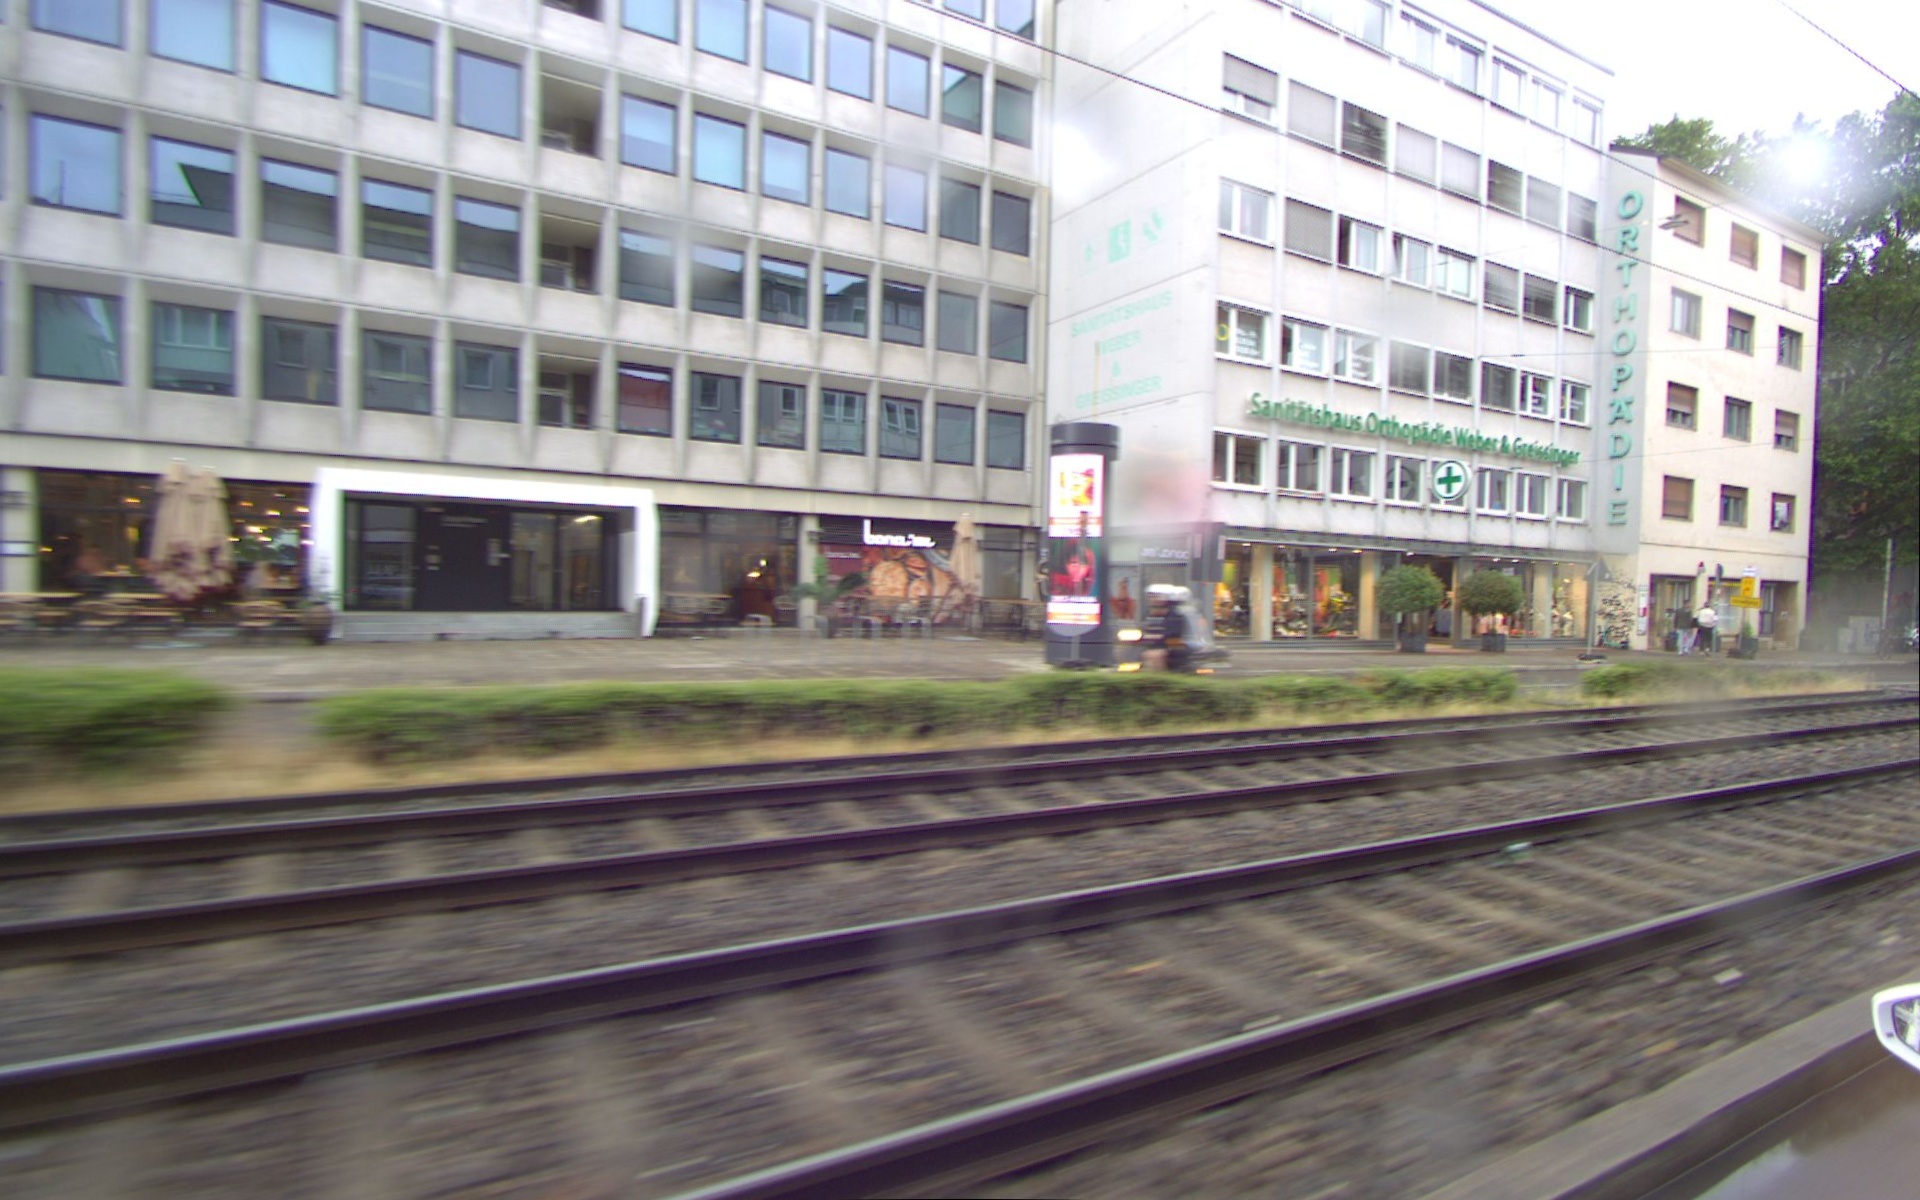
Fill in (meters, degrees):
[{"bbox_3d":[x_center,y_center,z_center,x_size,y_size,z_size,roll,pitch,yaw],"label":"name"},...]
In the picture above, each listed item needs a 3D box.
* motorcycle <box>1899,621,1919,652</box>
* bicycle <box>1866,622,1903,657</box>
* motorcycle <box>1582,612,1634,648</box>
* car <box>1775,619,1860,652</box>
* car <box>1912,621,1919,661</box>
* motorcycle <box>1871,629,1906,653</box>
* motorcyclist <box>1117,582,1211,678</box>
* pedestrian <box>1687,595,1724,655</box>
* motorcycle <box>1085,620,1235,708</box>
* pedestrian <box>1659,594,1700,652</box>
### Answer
[{"bbox_3d":[44.806,1.697,47.081,2.096,1.398,0.635,1,1,-32],"label":"motorcycle"},{"bbox_3d":[34.719,1.468,37.700,2.382,1.243,0.586,2,1,-38],"label":"bicycle"},{"bbox_3d":[22.493,1.029,34.873,0.381,1.196,1.469,1,1,-31],"label":"motorcycle"},{"bbox_3d":[41.180,1.692,48.236,3.955,1.474,1.983,1,0,-31],"label":"car"},{"bbox_3d":[37.823,1.567,37.892,4.171,1.488,1.735,1,-1,-31],"label":"car"},{"bbox_3d":[42.440,1.882,45.893,2.096,1.047,0.635,1,1,-32],"label":"motorcycle"},{"bbox_3d":[2.727,0.395,13.447,0.958,1.234,0.738,2,1,-29],"label":"motorcyclist"},{"bbox_3d":[24.511,0.825,33.028,0.734,1.921,0.675,1,1,-30],"label":"pedestrian"},{"bbox_3d":[2.682,0.835,13.432,1.908,1.074,0.739,2,1,-29],"label":"motorcycle"},{"bbox_3d":[24.169,0.769,33.730,0.971,1.921,0.723,1,1,-30],"label":"pedestrian"}]
